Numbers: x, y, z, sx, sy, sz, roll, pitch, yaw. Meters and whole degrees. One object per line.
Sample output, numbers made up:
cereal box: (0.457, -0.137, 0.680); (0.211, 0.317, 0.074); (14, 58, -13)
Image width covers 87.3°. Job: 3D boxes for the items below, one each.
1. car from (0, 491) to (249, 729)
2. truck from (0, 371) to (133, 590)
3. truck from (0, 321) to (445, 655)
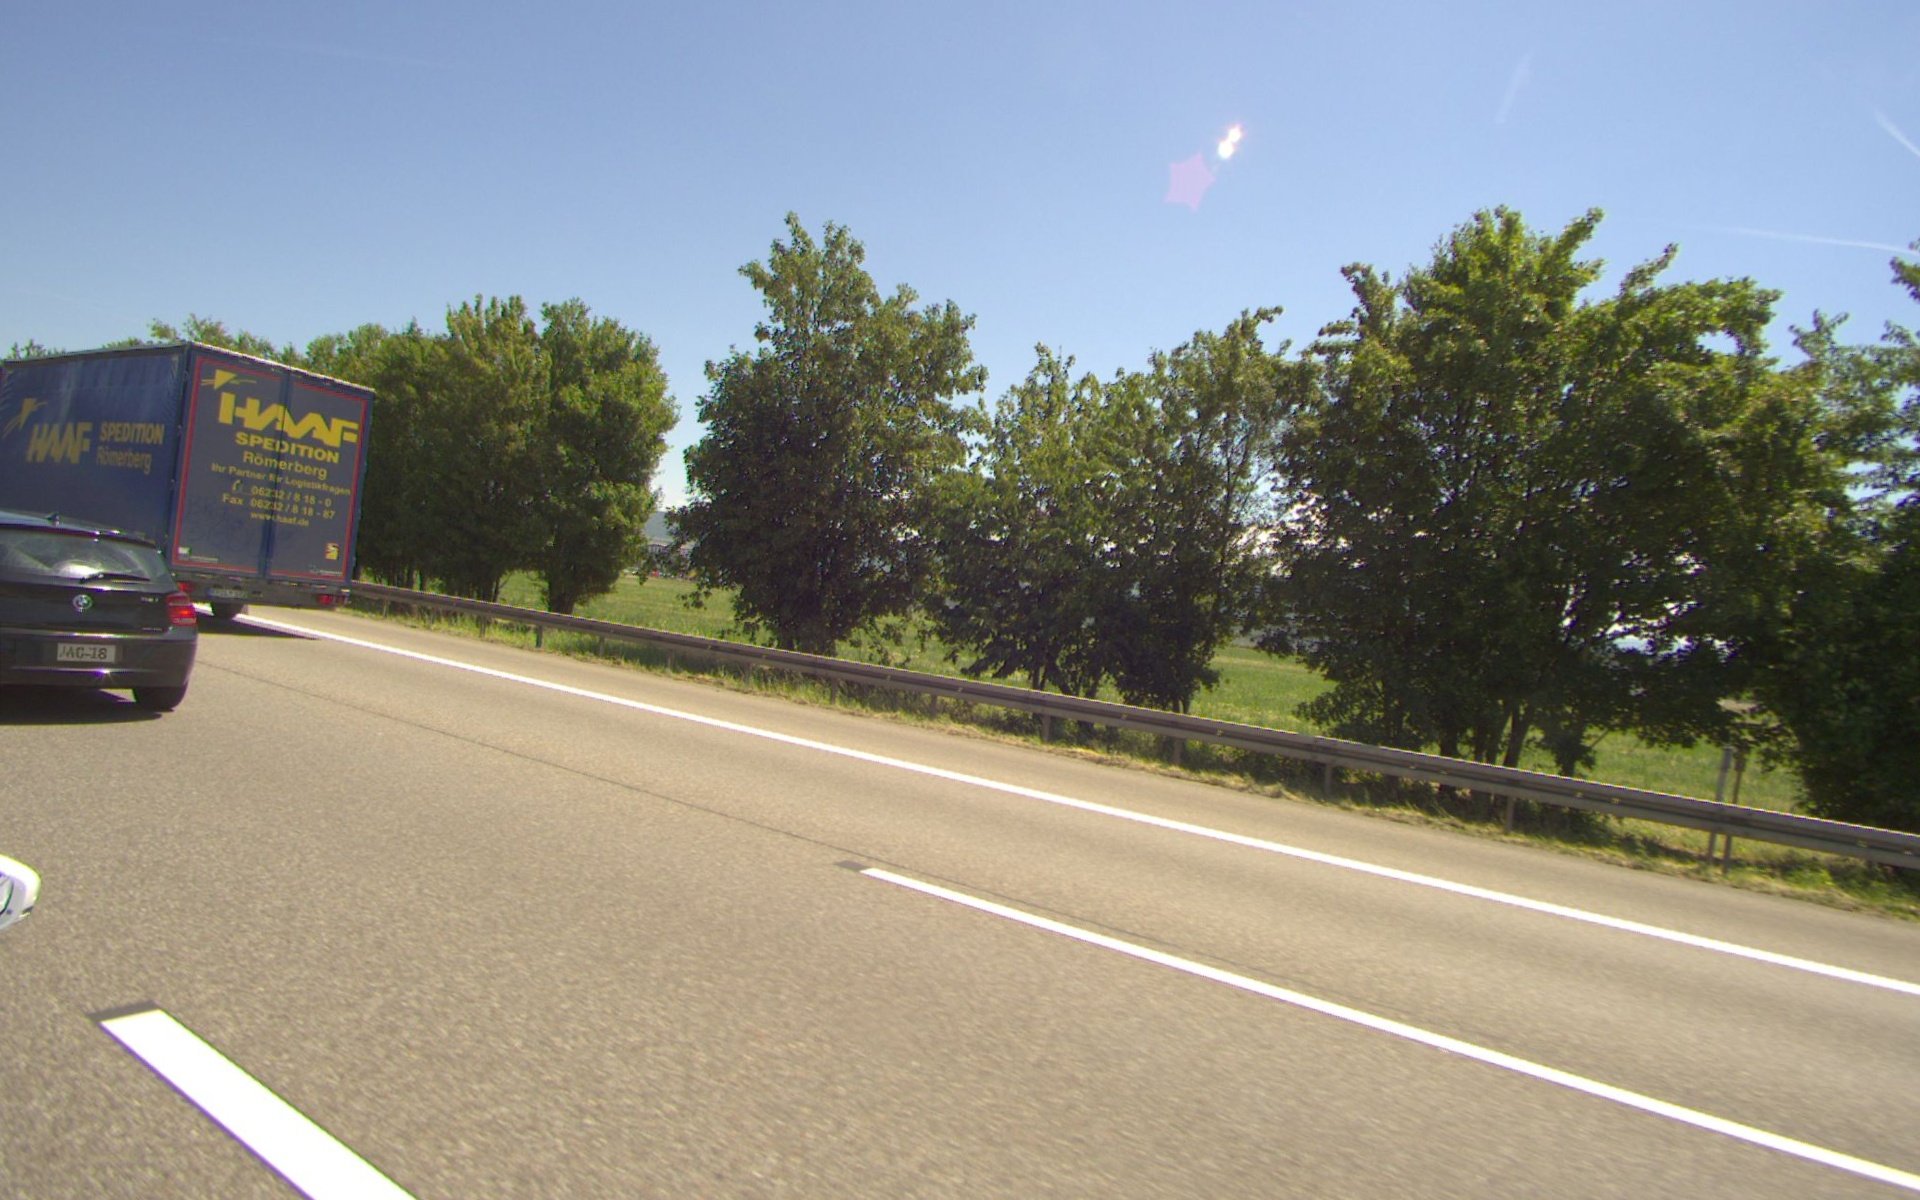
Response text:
car: (-7.636, -0.074, 7.947); (3.892, 1.541, 1.853); (7, -2, 33)
truck: (-22.541, -2.849, 22.828); (7.923, 4.187, 3.114); (7, -1, 32)
truck: (-15.481, -2.124, 18.363); (15.255, 4.187, 3.114); (7, -1, 32)
